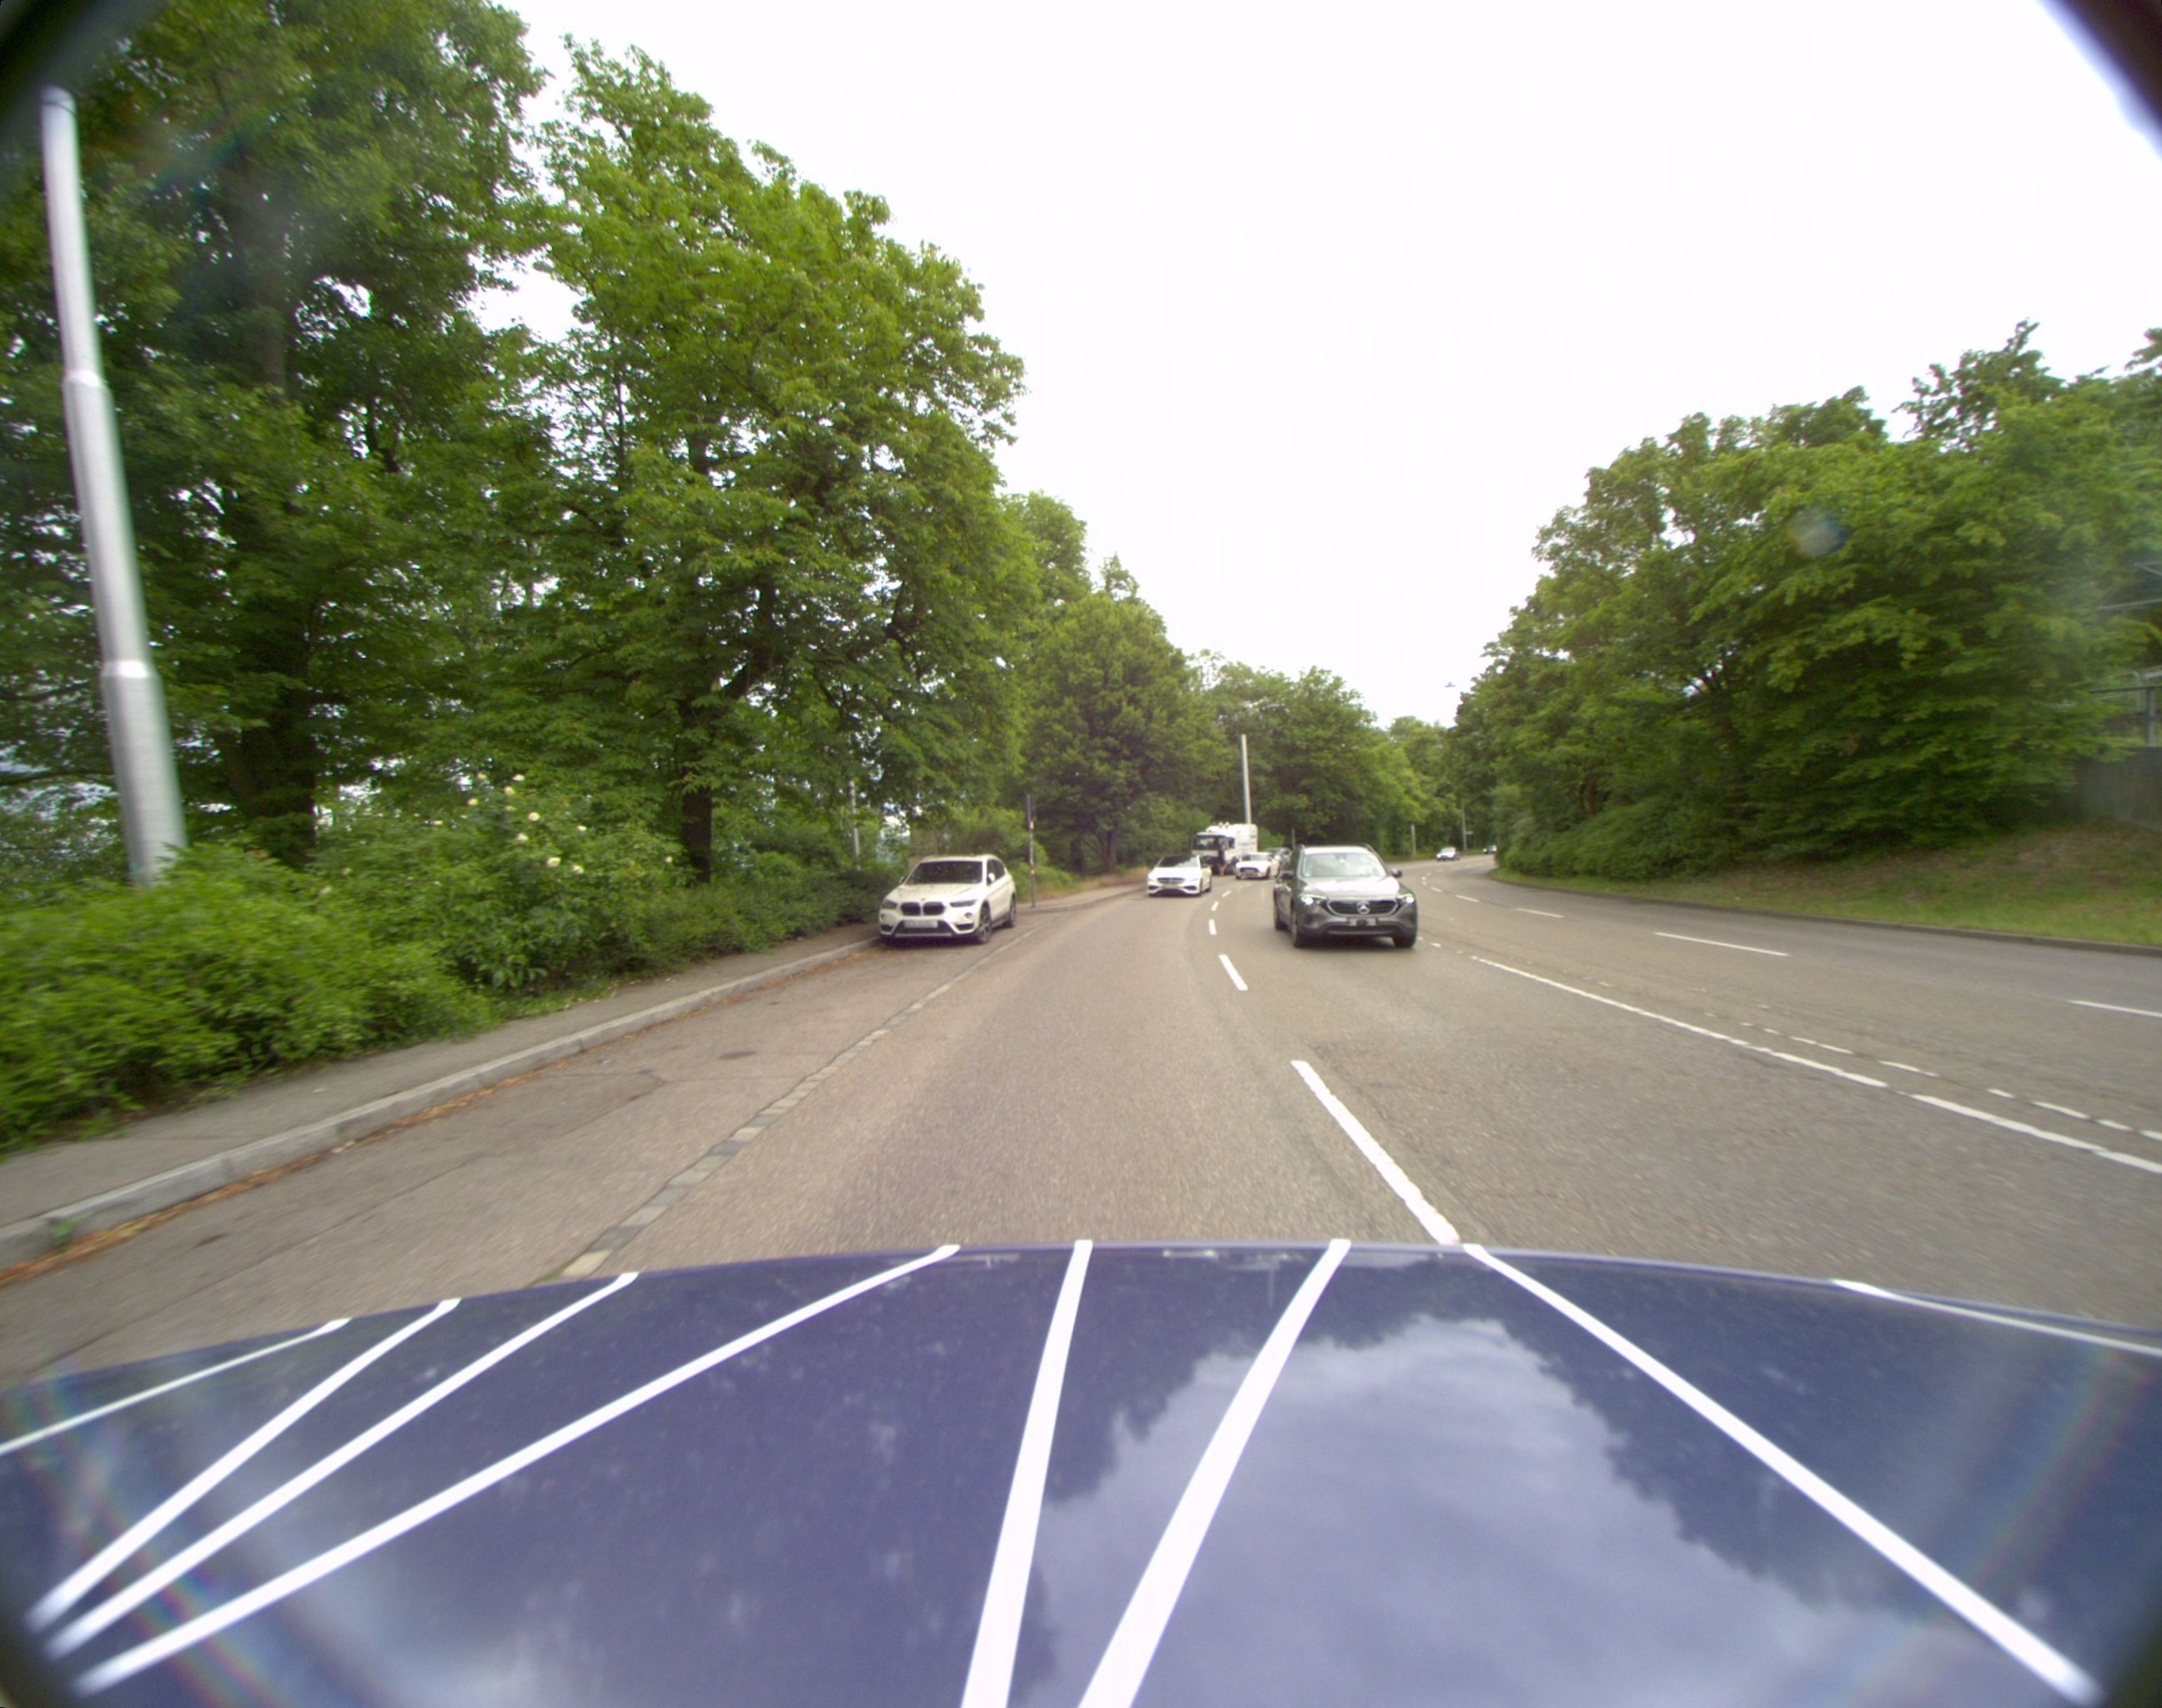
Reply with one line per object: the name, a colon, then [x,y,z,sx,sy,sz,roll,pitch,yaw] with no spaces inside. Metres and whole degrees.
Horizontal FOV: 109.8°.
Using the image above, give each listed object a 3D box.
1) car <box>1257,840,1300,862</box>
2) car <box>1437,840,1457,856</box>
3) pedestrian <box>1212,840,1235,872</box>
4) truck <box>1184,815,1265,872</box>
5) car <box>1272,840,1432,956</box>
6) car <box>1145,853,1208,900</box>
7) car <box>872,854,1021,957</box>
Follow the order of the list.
car: [14.484,-0.236,55.507,1.804,1.516,4.007,-2,0,33]
car: [38.773,-0.671,80.577,1.695,1.573,4.006,-3,-1,25]
pedestrian: [8.282,0.105,44.099,0.917,1.823,0.986,2,2,35]
truck: [9.119,-0.679,47.689,2.484,3.162,7.242,-3,0,31]
car: [4.430,0.602,13.077,1.870,1.653,4.194,-1,1,9]
car: [3.366,0.713,26.125,1.895,1.289,4.330,1,2,10]
car: [-2.398,0.851,14.738,1.762,1.643,4.381,0,1,5]
